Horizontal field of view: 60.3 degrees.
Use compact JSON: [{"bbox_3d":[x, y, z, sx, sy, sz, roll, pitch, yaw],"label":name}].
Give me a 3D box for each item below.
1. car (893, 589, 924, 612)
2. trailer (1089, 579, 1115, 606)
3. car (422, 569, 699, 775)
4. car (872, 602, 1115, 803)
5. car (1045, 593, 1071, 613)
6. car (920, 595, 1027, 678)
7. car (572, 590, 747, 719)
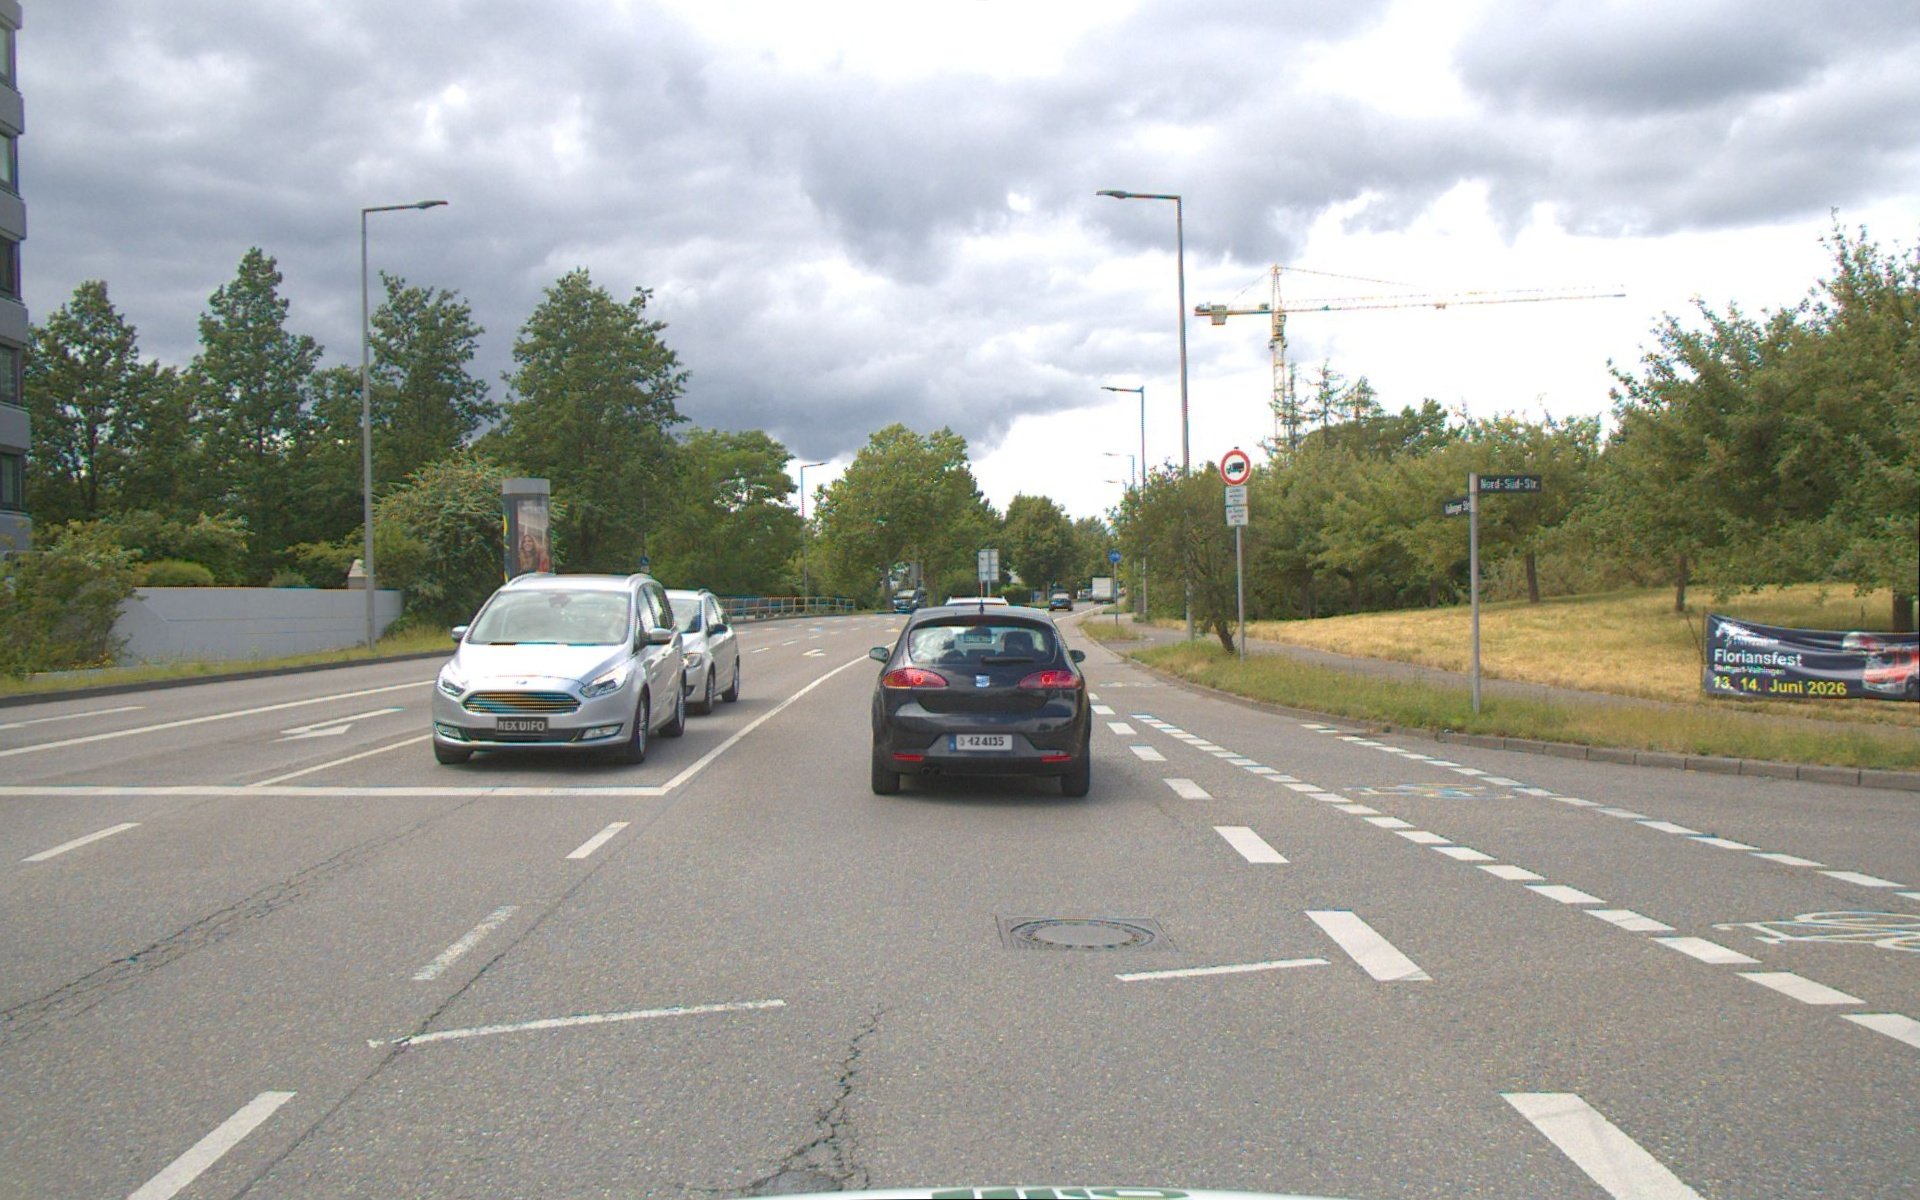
[{"bbox_3d":[-3.795,0.039,121.741,1.678,1.609,3.745,1,-1,7],"label":"car"},{"bbox_3d":[17.101,-0.911,198.966,2.438,3.127,5.591,1,-1,10],"label":"trailer"},{"bbox_3d":[-3.725,0.588,16.239,1.784,1.716,4.642,1,0,-3],"label":"car"},{"bbox_3d":[0.160,0.748,13.740,1.677,1.442,3.456,1,0,-5],"label":"car"},{"bbox_3d":[8.024,0.210,135.183,1.951,1.593,4.474,0,0,6],"label":"car"},{"bbox_3d":[0.201,0.679,31.978,1.798,1.493,3.748,1,-1,-3],"label":"car"},{"bbox_3d":[-3.927,0.656,22.215,1.626,1.545,4.084,1,0,-1],"label":"car"}]
